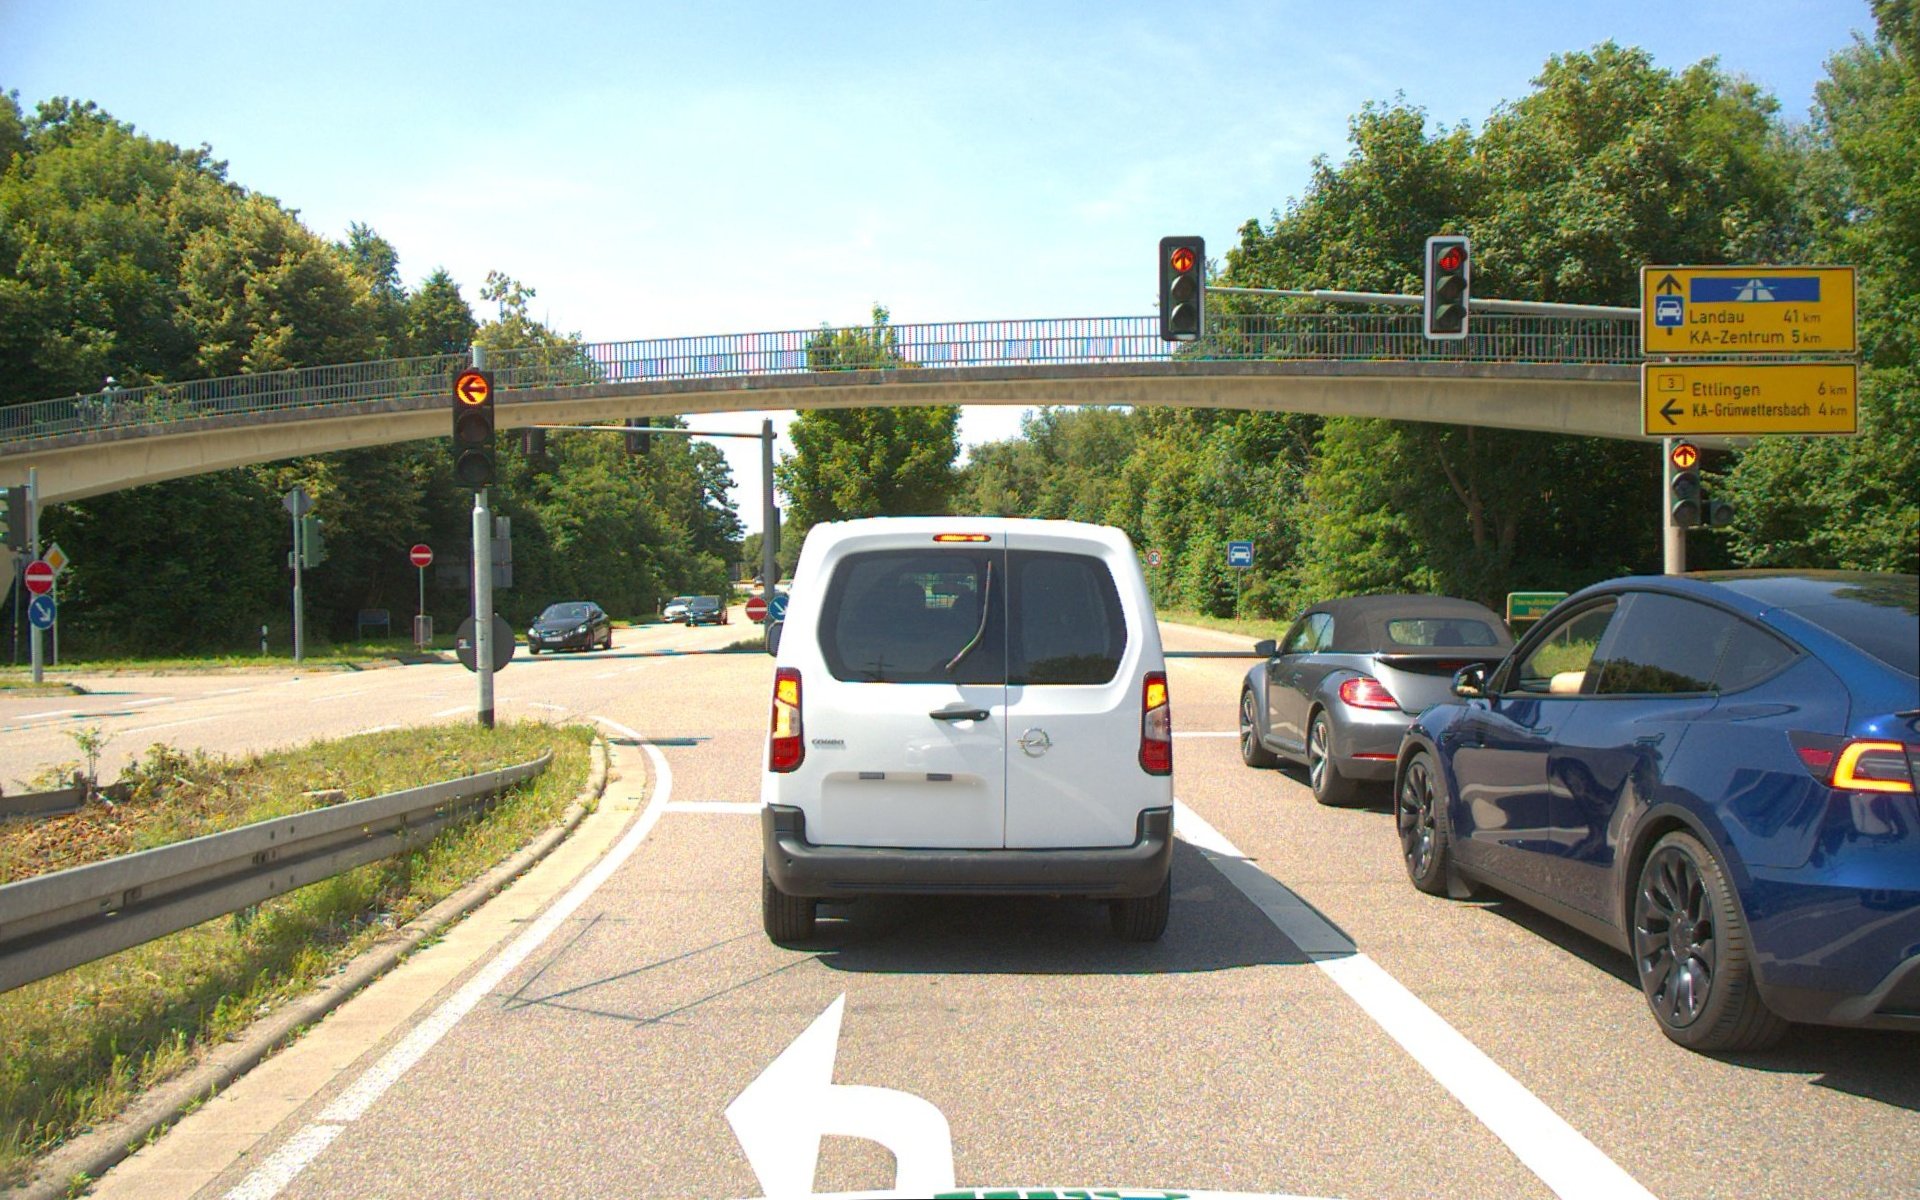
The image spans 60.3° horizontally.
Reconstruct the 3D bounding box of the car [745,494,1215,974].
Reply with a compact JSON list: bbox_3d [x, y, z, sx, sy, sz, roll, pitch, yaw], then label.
[{"bbox_3d":[0.025,0.492,8.446,1.812,1.857,3.980,1,1,-2],"label":"car"}]

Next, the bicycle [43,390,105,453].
[{"bbox_3d":[-23.537,-4.735,43.939,1.494,1.500,0.470,-3,-2,15],"label":"bicycle"}]

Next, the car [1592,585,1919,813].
[{"bbox_3d":[6.826,0.647,13.142,1.862,1.503,4.380,1,0,-1],"label":"car"}]

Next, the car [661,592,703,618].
[{"bbox_3d":[-15.893,0.265,94.716,1.717,1.431,3.999,-1,0,-1],"label":"car"}]

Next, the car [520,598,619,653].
[{"bbox_3d":[-11.504,0.729,48.972,1.967,1.486,4.054,-2,0,-1],"label":"car"}]

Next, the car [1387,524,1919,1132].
[{"bbox_3d":[3.318,0.621,6.831,1.862,1.673,4.519,1,0,-1],"label":"car"}]

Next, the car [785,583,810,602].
[{"bbox_3d":[-15.011,-0.706,152.792,1.953,1.694,3.999,-1,0,-1],"label":"car"}]

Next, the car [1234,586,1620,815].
[{"bbox_3d":[3.454,0.658,13.036,1.862,1.503,3.938,1,0,-1],"label":"car"}]

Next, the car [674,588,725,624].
[{"bbox_3d":[-12.947,0.282,82.359,1.953,1.694,3.999,-1,0,-1],"label":"car"}]
